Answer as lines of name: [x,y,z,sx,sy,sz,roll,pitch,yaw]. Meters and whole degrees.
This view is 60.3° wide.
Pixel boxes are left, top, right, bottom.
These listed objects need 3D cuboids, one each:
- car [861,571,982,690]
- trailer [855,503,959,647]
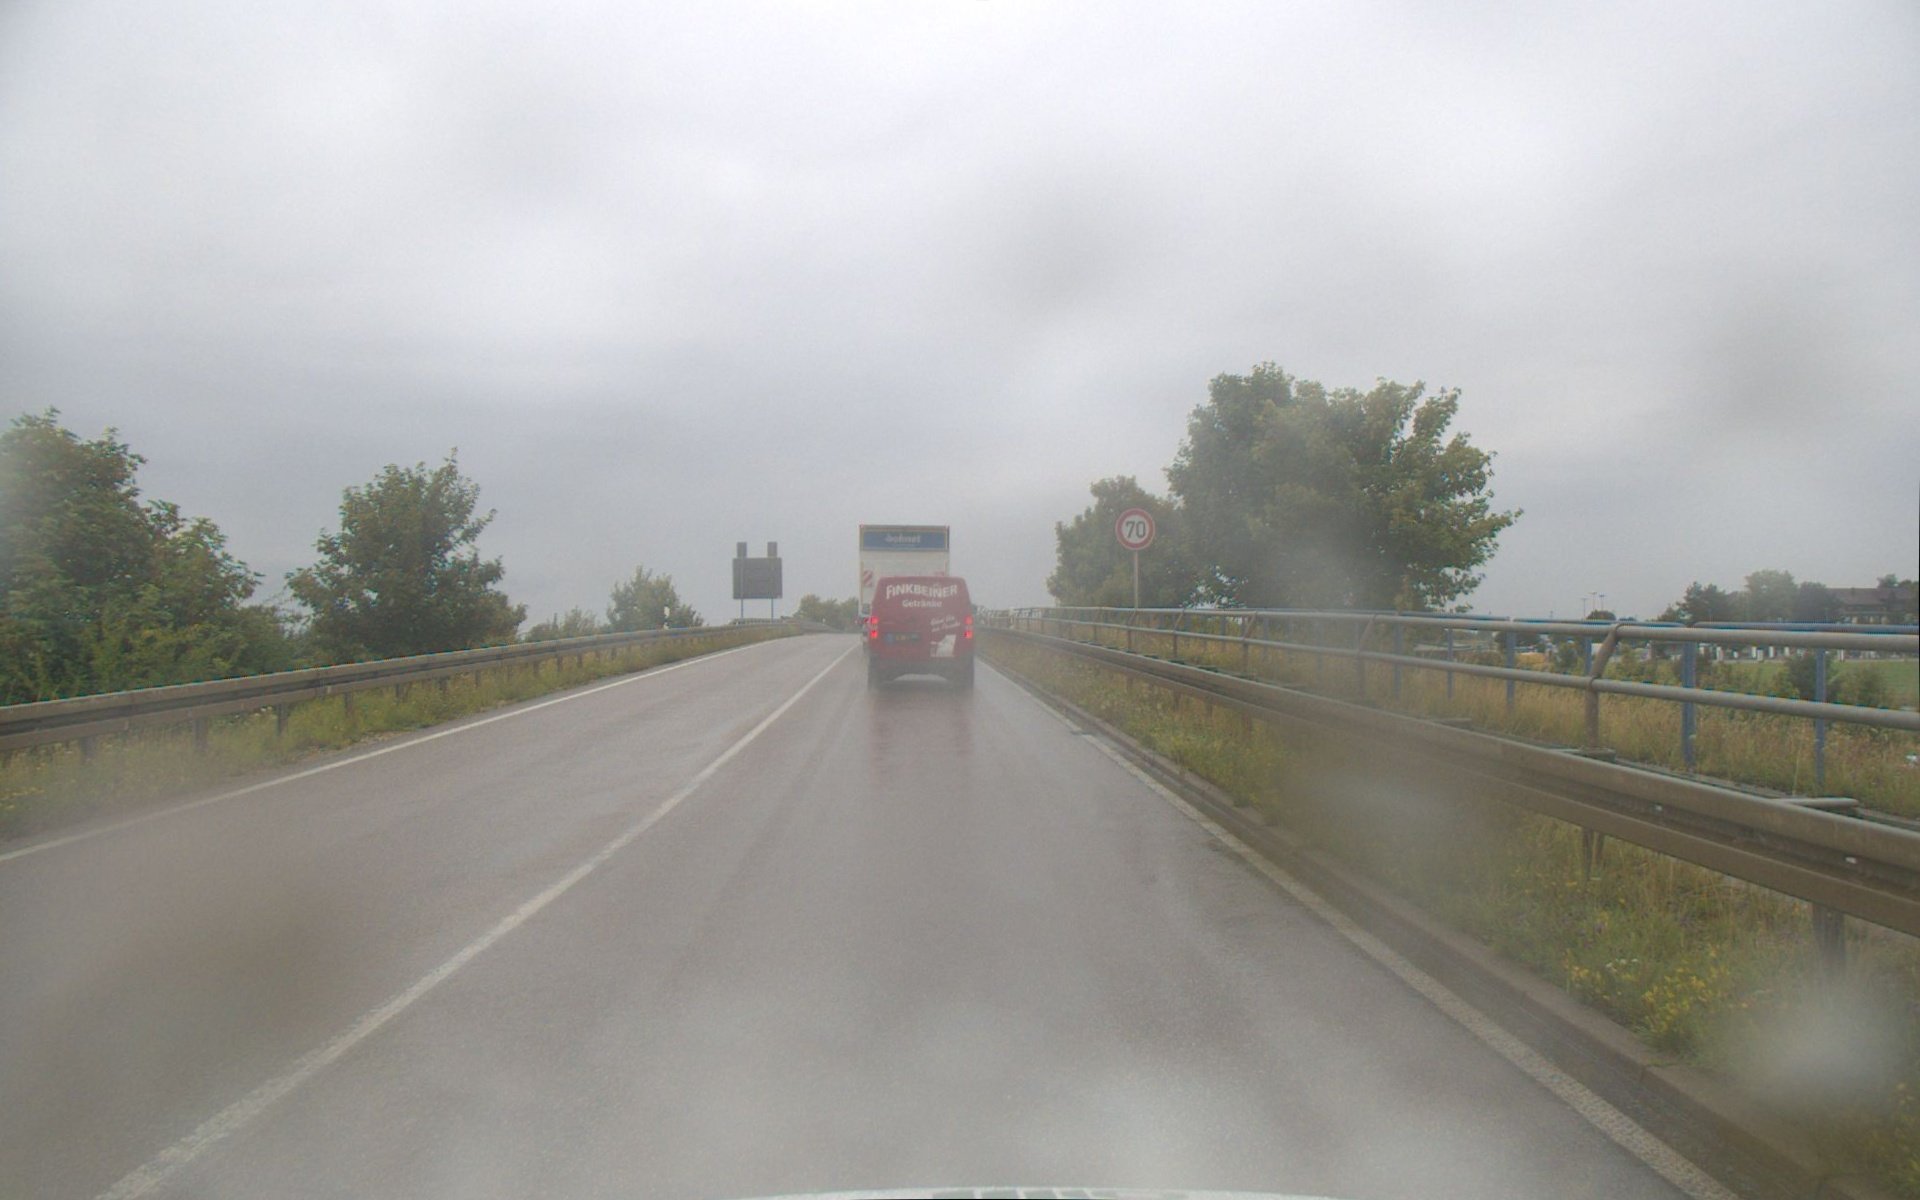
car: [-0.656,0.517,29.732,1.953,1.903,4.977,-1,0,-1]
trailer: [-1.481,-0.595,50.123,2.774,3.886,9.713,-1,-1,0]
